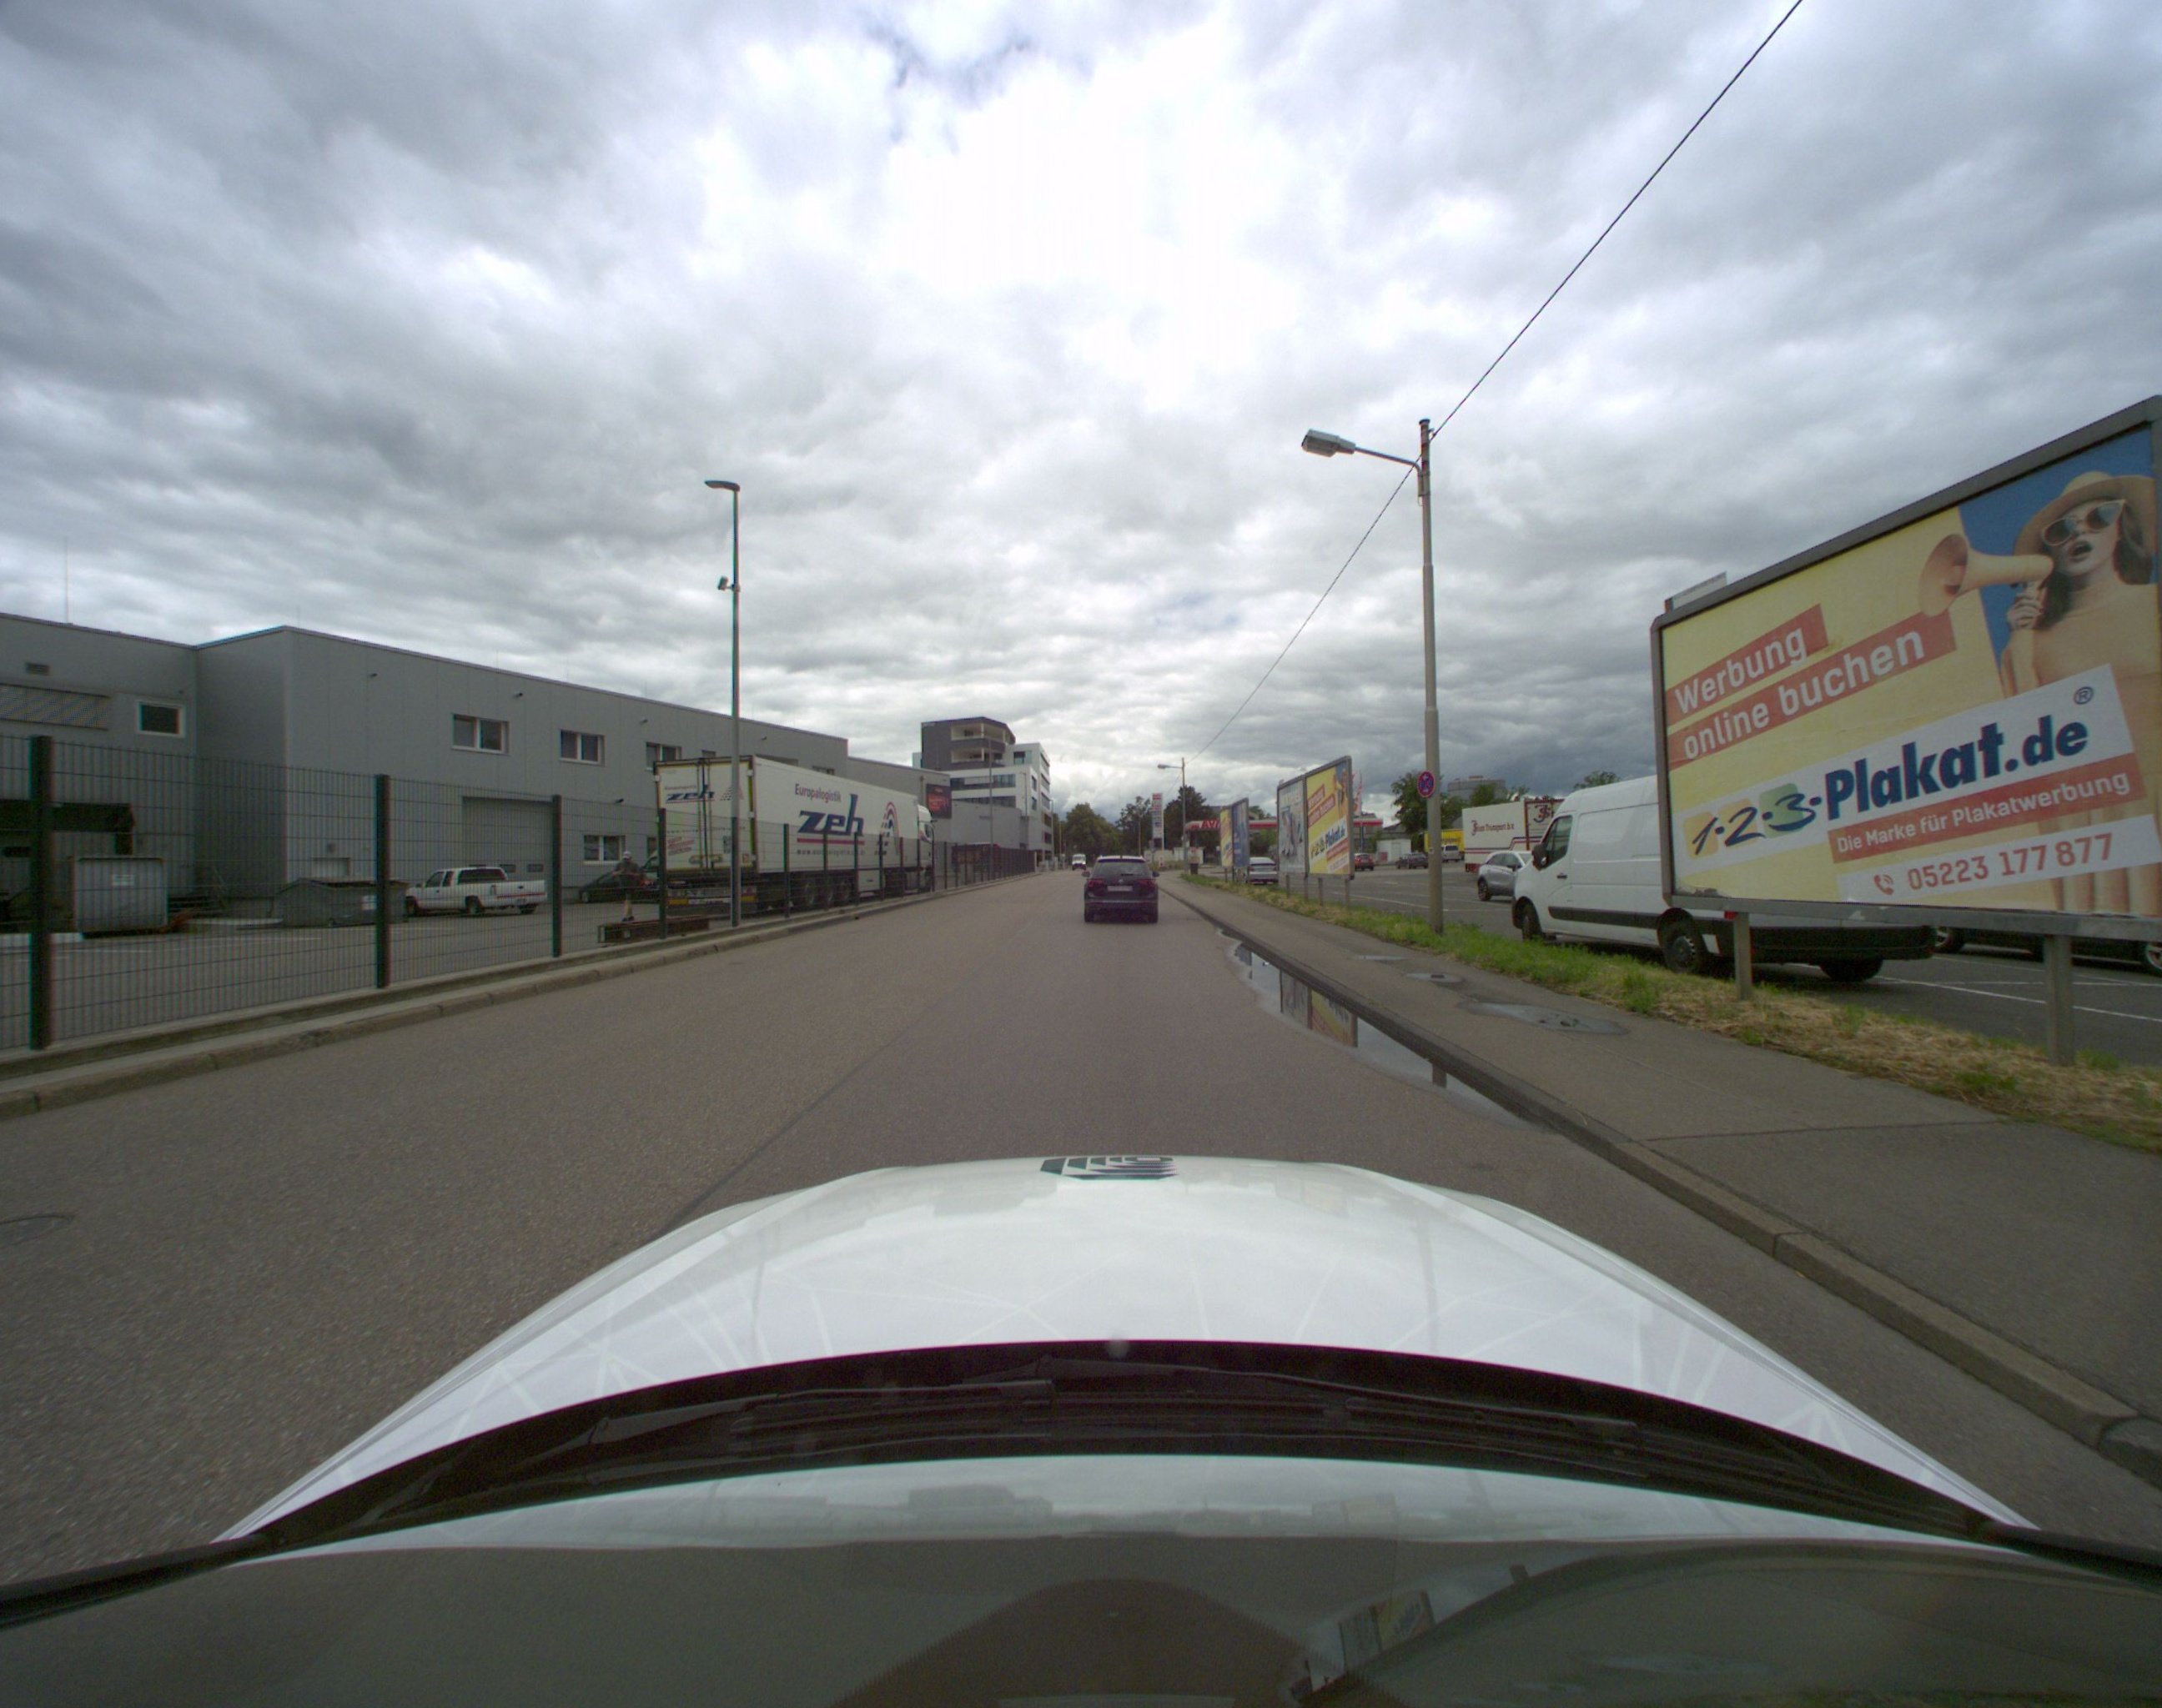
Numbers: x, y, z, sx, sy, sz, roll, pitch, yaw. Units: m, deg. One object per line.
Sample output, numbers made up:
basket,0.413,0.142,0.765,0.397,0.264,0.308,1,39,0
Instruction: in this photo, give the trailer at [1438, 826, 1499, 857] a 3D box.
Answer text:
trailer,48.757,-1.531,102.874,3.021,3.628,10.141,-1,0,1

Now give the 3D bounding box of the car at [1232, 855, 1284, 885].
car,9.119,0.840,42.288,1.882,1.445,4.431,1,-1,2

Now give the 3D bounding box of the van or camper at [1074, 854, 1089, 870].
van or camper,0.100,1.156,119.204,1.986,2.256,4.002,-1,-1,2

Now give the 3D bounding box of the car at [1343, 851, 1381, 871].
car,25.109,0.677,72.970,1.987,1.706,3.999,-1,-1,0

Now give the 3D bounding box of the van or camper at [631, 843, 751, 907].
van or camper,-18.003,0.989,37.633,4.929,2.763,2.115,-2,-1,20

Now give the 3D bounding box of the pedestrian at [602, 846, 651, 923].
pedestrian,-11.194,0.741,20.090,0.694,1.829,0.825,-1,-1,6

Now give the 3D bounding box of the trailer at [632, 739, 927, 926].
trailer,-8.648,-0.404,26.718,3.119,4.261,14.036,-5,-1,5

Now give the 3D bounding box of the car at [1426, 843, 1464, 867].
car,40.560,0.135,90.930,2.082,2.647,5.374,-1,0,3

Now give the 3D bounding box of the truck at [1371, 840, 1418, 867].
truck,38.183,-0.086,99.466,3.162,3.145,7.515,-1,0,3

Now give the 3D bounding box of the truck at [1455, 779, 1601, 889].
truck,22.959,-0.887,42.545,3.293,5.094,8.522,-1,-1,4

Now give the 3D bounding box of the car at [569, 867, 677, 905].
car,-19.862,1.386,35.348,3.953,1.552,2.010,-2,-1,21

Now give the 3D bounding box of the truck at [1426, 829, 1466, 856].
truck,48.940,-1.573,109.470,3.020,3.463,5.508,-1,0,2

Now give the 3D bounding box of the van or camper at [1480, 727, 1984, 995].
van or camper,8.015,0.121,11.239,2.246,2.648,6.118,-1,-1,3

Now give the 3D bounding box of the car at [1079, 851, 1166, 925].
car,1.053,0.829,21.180,1.986,1.684,4.373,-1,-1,2

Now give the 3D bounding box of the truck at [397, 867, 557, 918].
truck,-21.246,1.357,28.667,4.870,1.652,2.239,-2,-1,21

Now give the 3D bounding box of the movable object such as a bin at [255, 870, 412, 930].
movable object such as a bin,-23.475,1.425,25.597,3.951,1.736,2.168,-2,-1,23

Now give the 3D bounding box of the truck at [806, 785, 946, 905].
truck,-8.085,-0.273,33.246,3.113,4.117,6.950,-5,-1,5

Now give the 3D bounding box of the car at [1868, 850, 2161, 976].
car,13.446,0.713,10.789,1.882,1.445,4.430,1,-1,2

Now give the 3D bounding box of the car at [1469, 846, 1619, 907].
car,13.514,0.655,24.126,1.883,1.612,4.427,-1,-1,0

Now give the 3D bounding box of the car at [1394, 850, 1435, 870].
car,29.764,0.583,72.804,1.987,1.706,4.187,-1,-1,0
